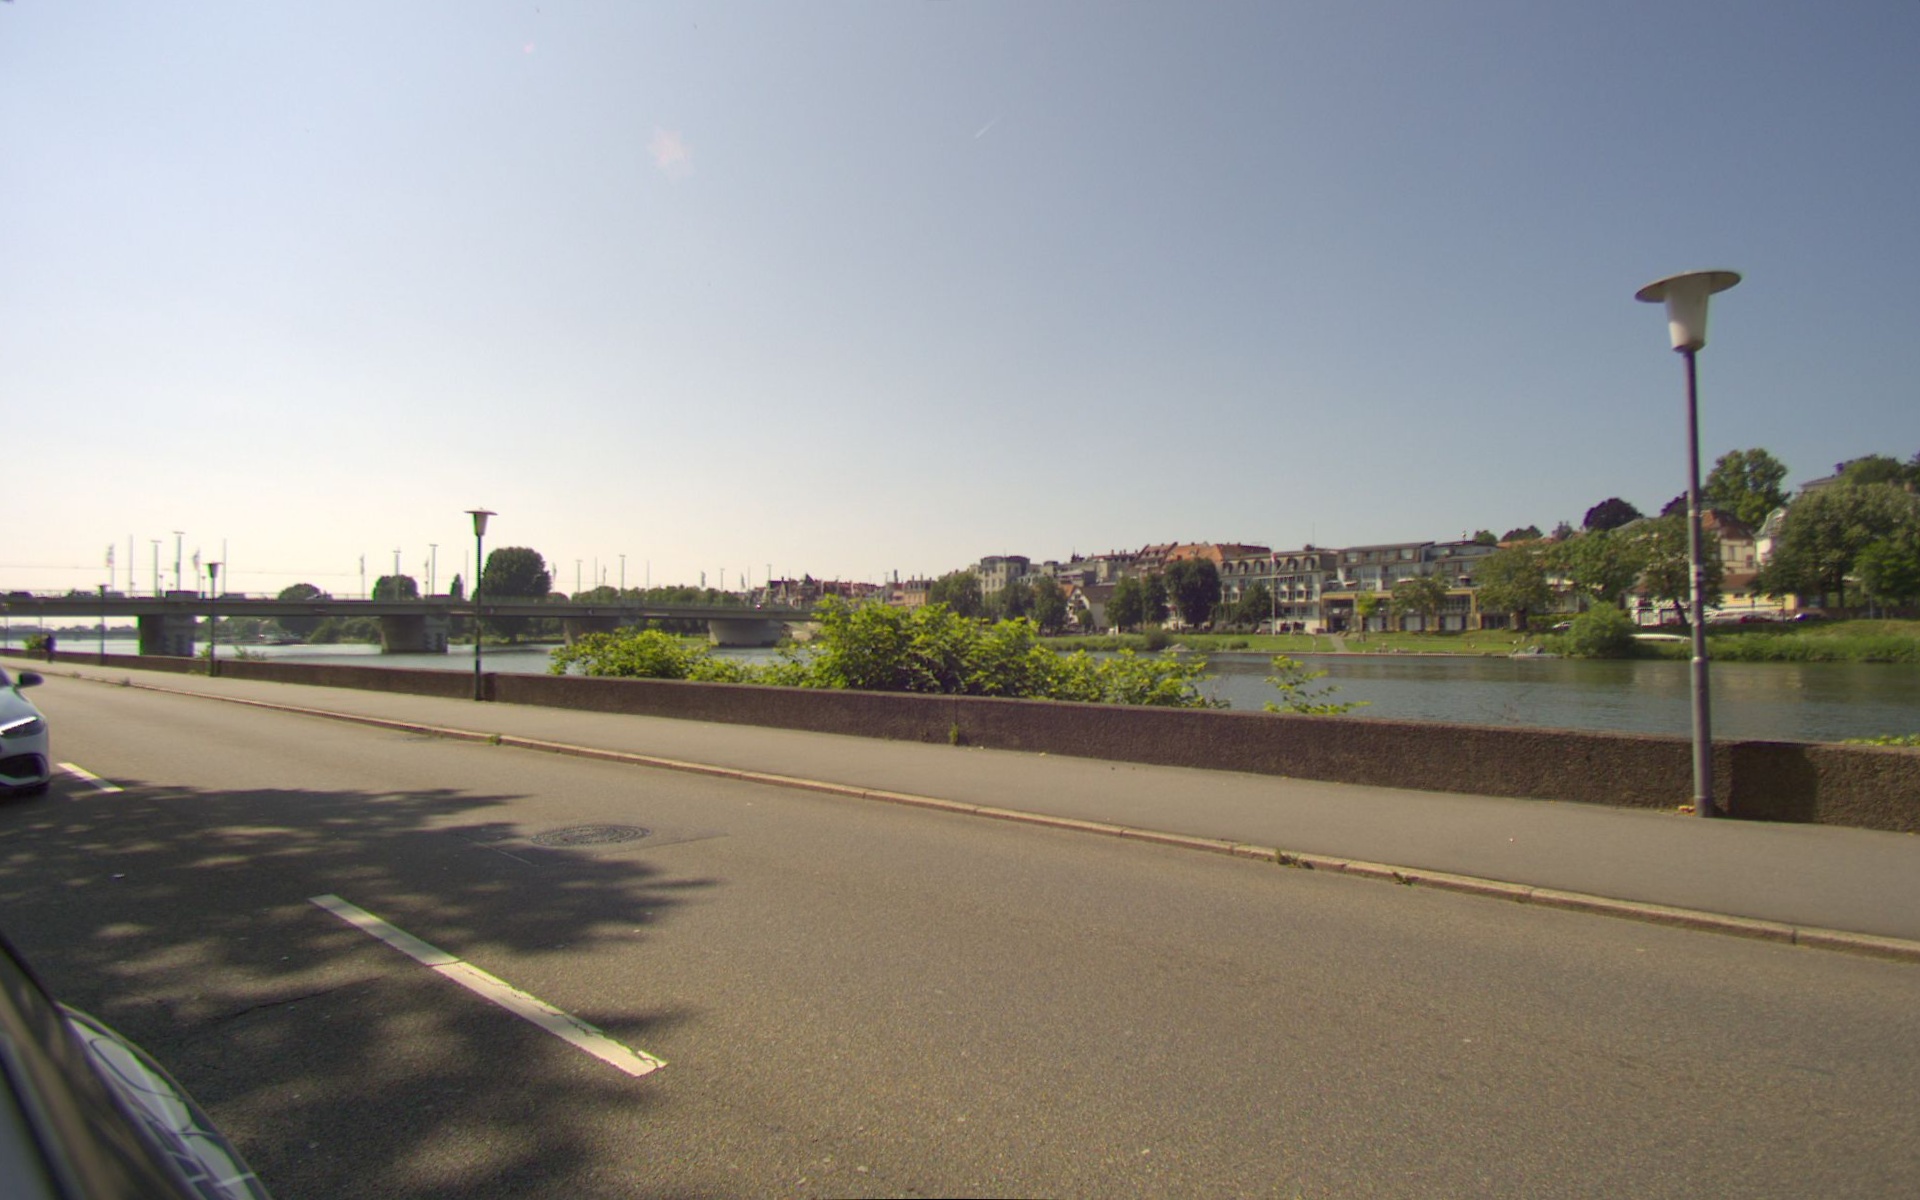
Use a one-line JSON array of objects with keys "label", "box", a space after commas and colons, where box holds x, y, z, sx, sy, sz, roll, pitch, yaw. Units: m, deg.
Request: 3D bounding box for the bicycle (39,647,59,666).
[{"label": "bicycle", "box": [-50.839, 3.142, 56.475, 1.943, 0.990, 0.645, -2, -2, 42]}]

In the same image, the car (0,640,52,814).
[{"label": "car", "box": [-10.048, 1.129, 9.480, 4.550, 1.430, 1.807, -2, -2, 42]}]

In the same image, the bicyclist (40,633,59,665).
[{"label": "bicyclist", "box": [-50.815, 2.732, 56.468, 0.974, 1.715, 0.654, -3, -2, 41]}]
